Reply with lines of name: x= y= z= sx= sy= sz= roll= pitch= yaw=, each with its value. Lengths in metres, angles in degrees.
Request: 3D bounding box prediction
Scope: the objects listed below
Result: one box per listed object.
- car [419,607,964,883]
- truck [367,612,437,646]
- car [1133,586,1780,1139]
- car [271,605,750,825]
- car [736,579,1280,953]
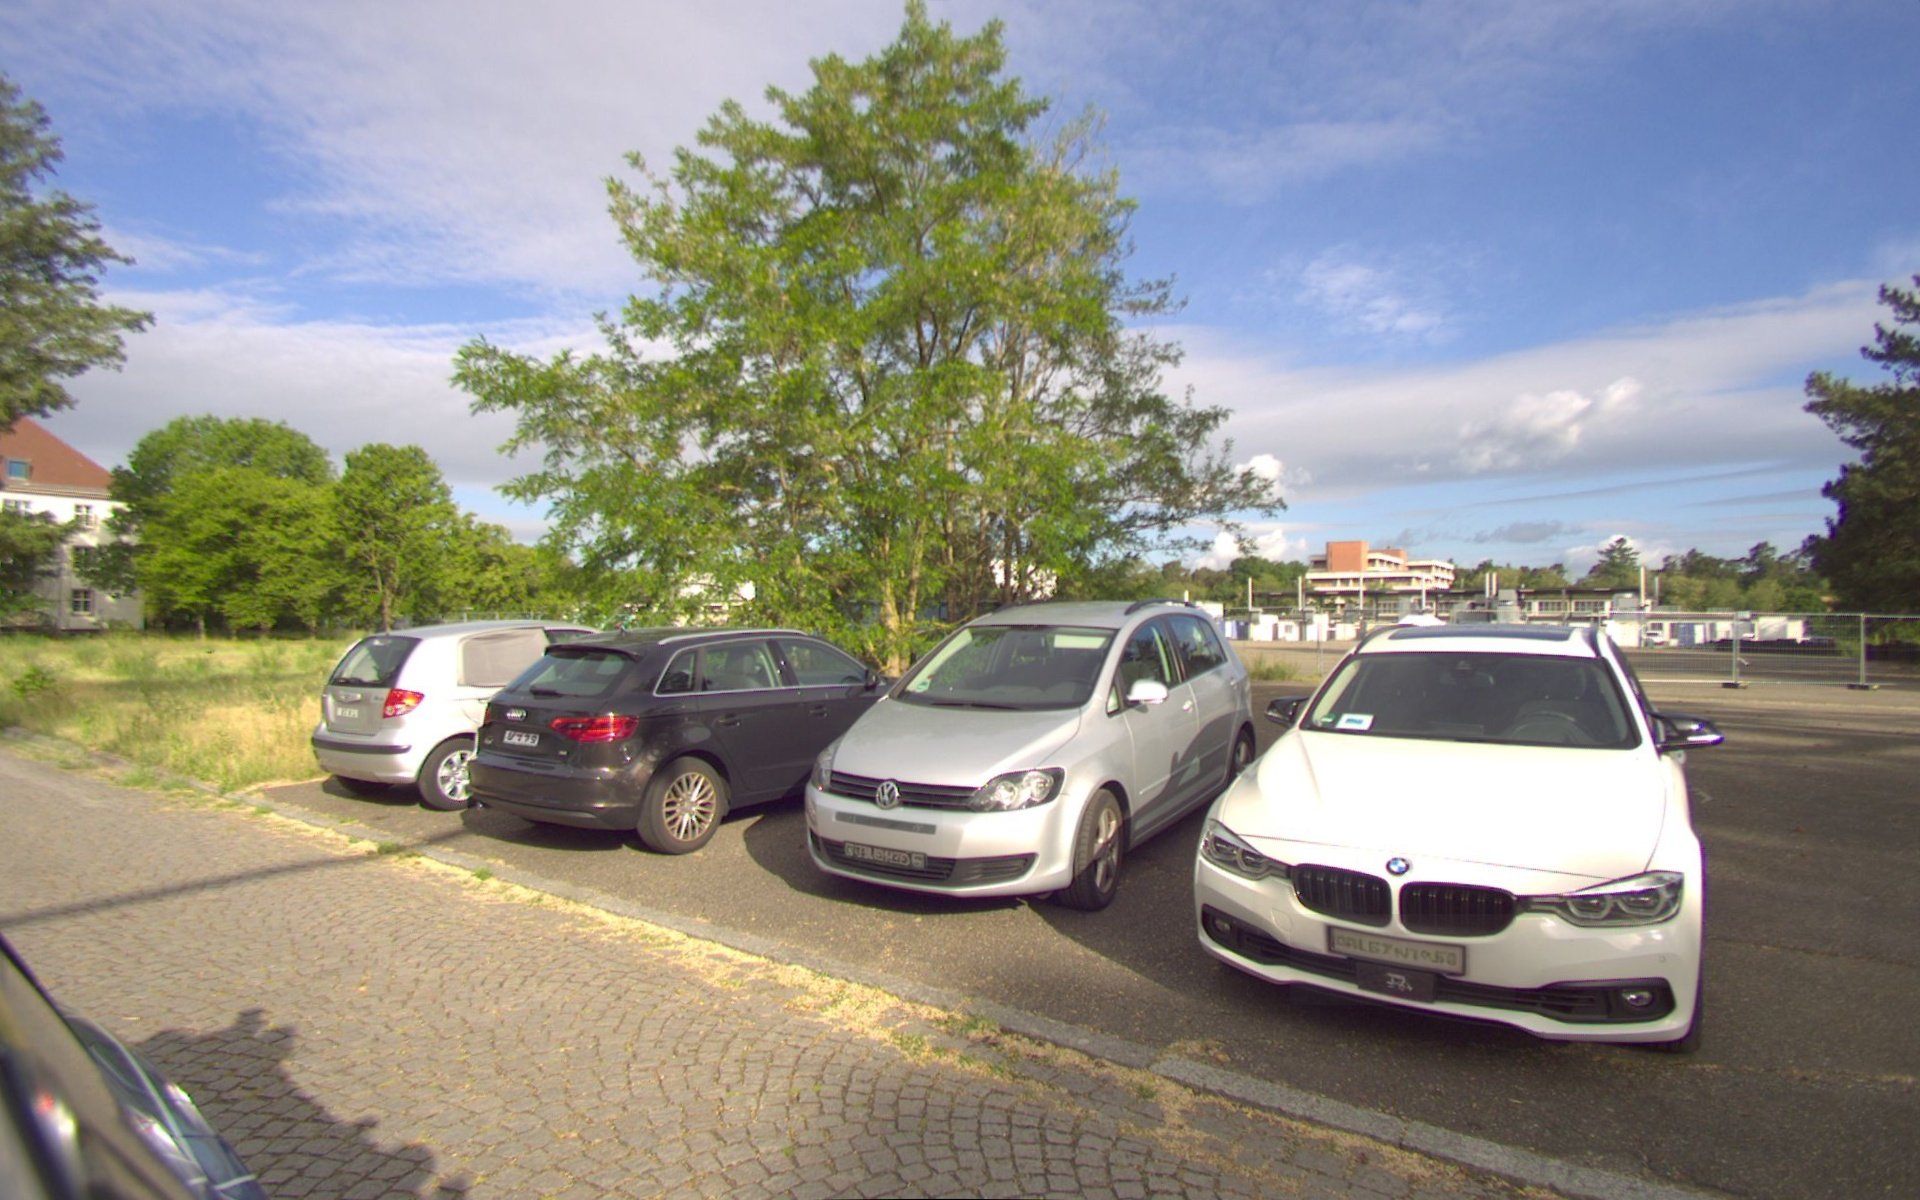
car: x=-1.816 y=0.845 z=7.882 sx=1.855 sy=1.440 sz=3.795 roll=0 pitch=2 yaw=35
truck: x=-43.590 y=2.257 z=78.969 sx=6.951 sy=2.607 sz=2.388 roll=-1 pitch=-2 yaw=39
car: x=2.740 y=0.739 z=5.260 sx=1.898 sy=1.466 sz=4.550 roll=-2 pitch=0 yaw=34
car: x=-3.959 y=0.852 z=9.441 sx=1.845 sy=1.484 sz=3.652 roll=0 pitch=1 yaw=35
car: x=0.657 y=0.701 z=6.710 sx=1.853 sy=1.611 sz=4.091 roll=0 pitch=1 yaw=32
